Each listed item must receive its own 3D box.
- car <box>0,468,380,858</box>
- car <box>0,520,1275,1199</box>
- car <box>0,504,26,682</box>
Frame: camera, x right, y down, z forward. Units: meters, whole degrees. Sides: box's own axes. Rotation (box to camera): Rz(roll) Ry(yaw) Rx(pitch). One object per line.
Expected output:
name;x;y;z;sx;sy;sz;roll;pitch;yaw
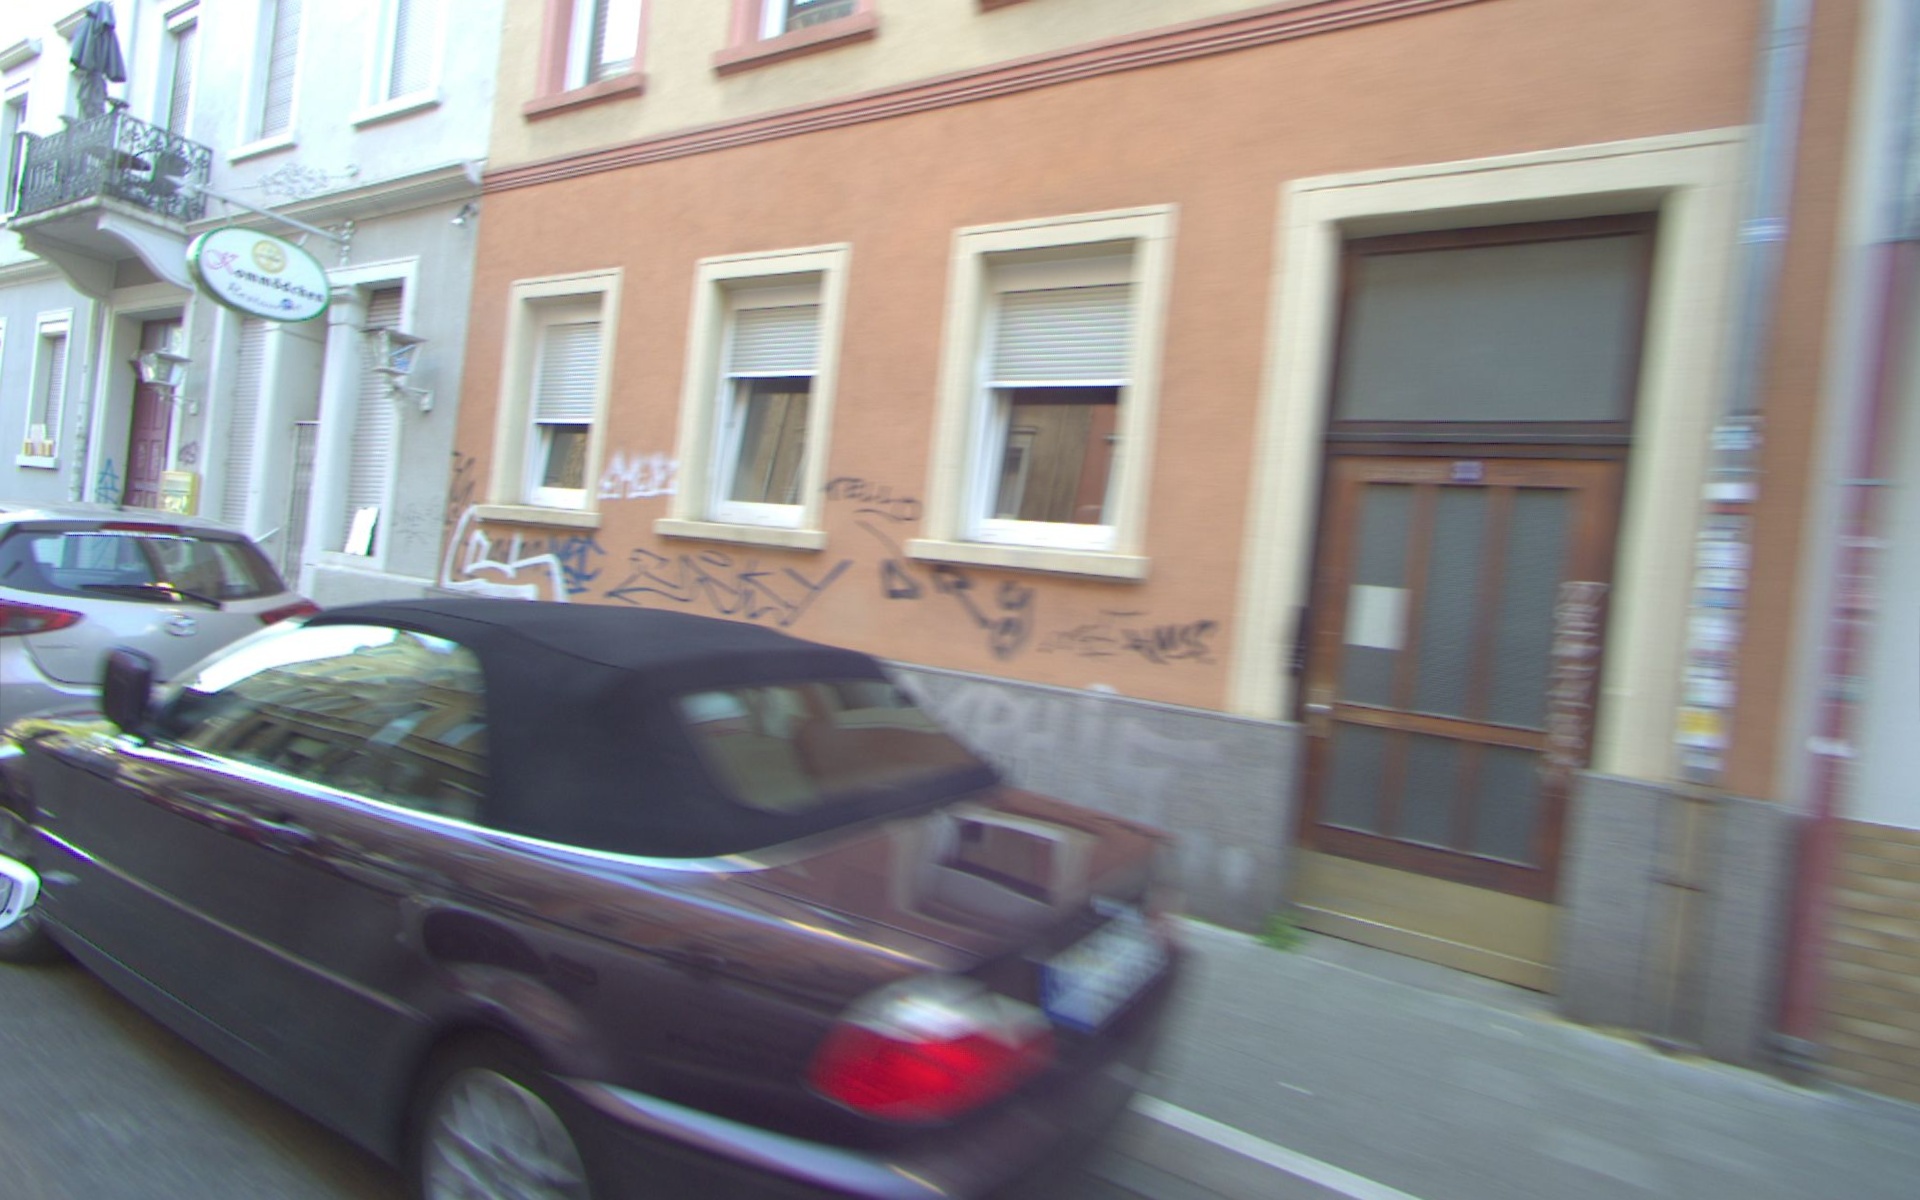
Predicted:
car;-5.361;0.149;5.804;4.122;1.615;1.682;6;-2;34
car;-1.512;0.681;3.223;4.419;1.410;1.771;7;-2;31
car;-9.921;-0.292;8.543;4.119;1.527;1.683;7;-2;31
